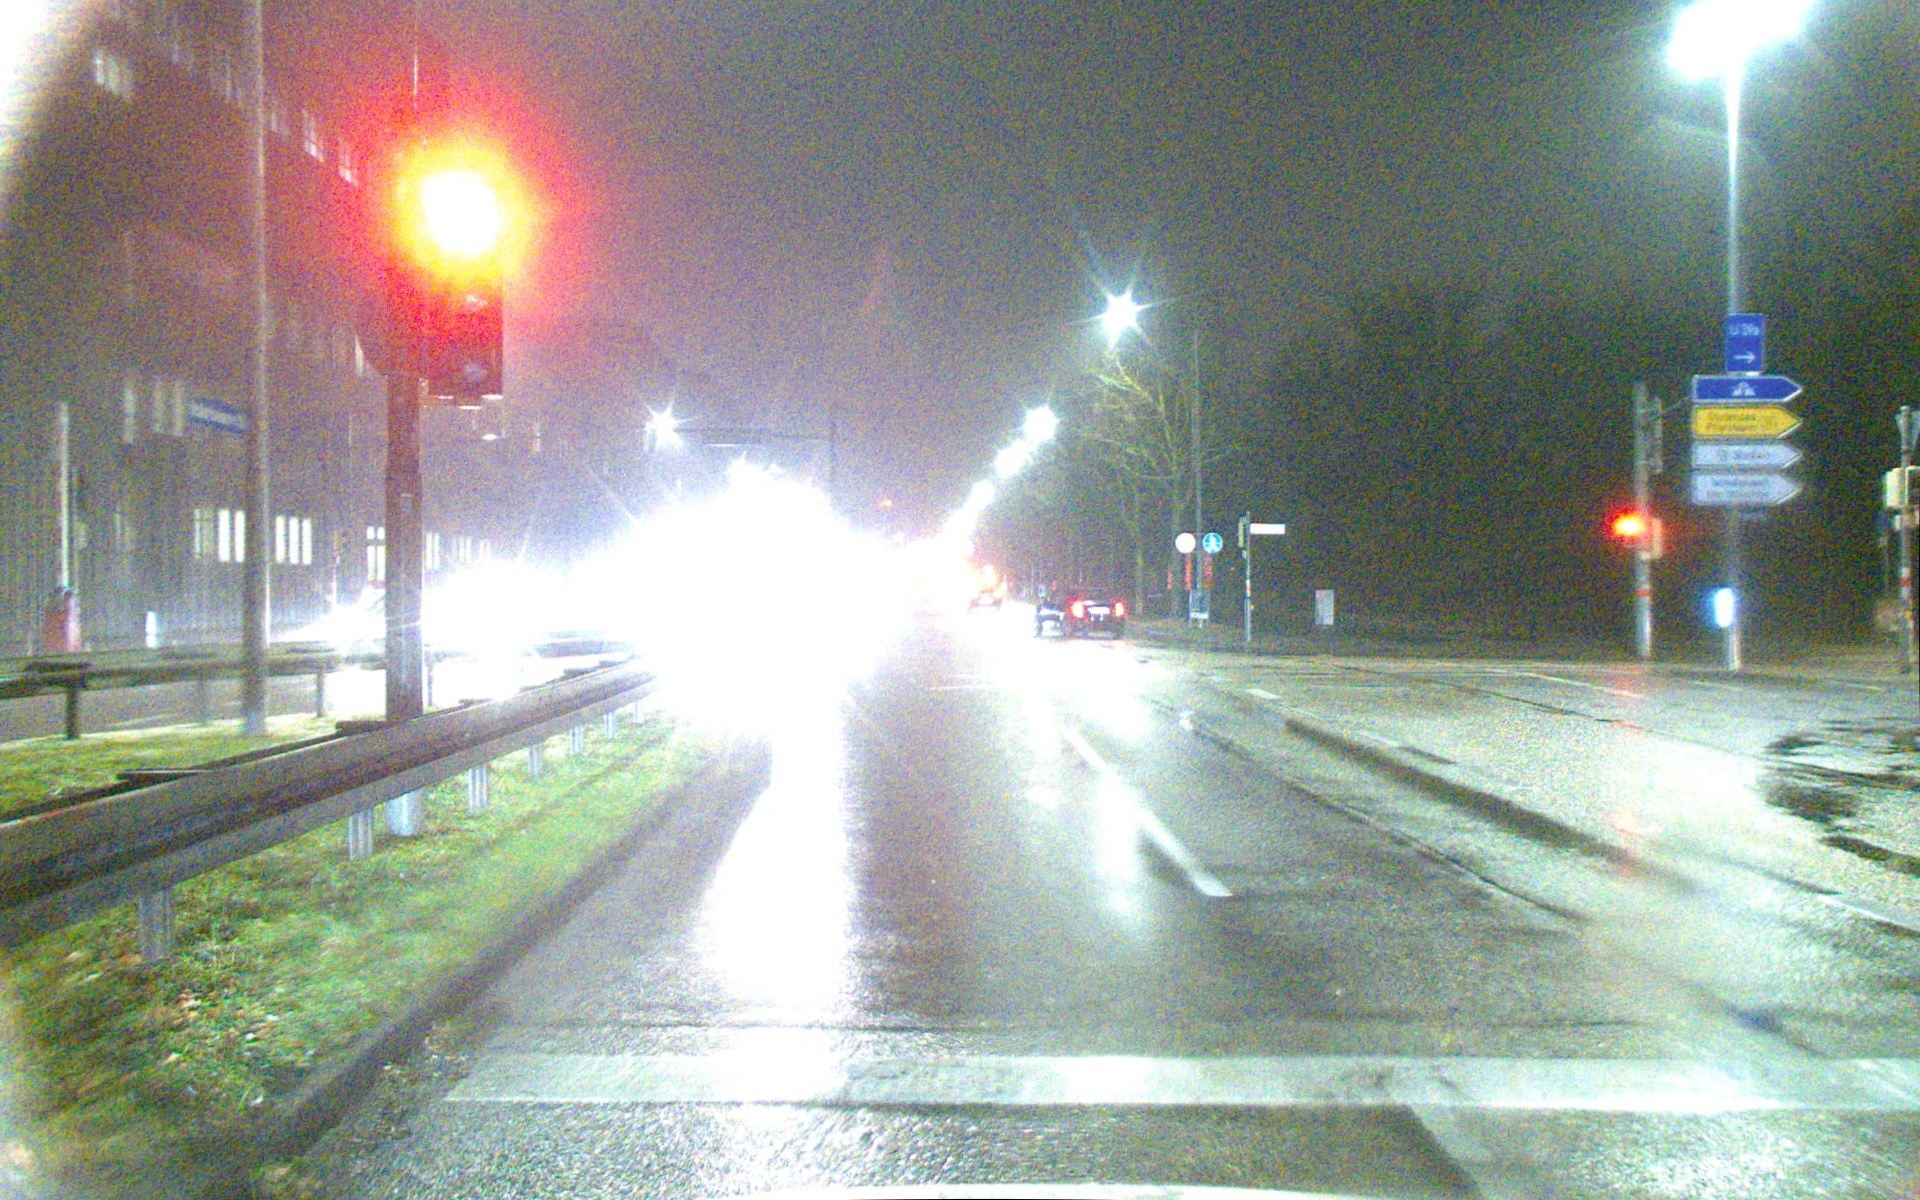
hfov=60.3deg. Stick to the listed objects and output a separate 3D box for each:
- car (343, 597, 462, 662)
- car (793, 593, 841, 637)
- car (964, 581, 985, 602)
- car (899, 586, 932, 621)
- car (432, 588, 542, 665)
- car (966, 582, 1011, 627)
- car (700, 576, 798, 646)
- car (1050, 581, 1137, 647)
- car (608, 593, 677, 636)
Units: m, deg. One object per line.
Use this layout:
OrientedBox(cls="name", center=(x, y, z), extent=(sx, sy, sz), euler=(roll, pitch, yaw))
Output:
OrientedBox(cls="car", center=(-14.364, 0.749, 42.864), extent=(1.764, 1.591, 3.999), euler=(0, 0, -1))
OrientedBox(cls="car", center=(-6.798, 0.704, 78.970), extent=(1.953, 2.049, 3.999), euler=(-1, 0, -1))
OrientedBox(cls="car", center=(1.399, -0.817, 160.624), extent=(1.996, 2.049, 4.307), euler=(0, 0, 1))
OrientedBox(cls="car", center=(-2.675, 0.235, 100.897), extent=(1.953, 2.049, 3.999), euler=(0, 0, -1))
OrientedBox(cls="car", center=(-11.566, 0.620, 40.705), extent=(1.715, 1.738, 4.494), euler=(-1, 0, -5))
OrientedBox(cls="car", center=(1.439, 0.227, 84.823), extent=(2.163, 2.253, 3.642), euler=(0, -1, -1))
OrientedBox(cls="car", center=(-5.196, 0.279, 41.369), extent=(1.953, 1.638, 4.968), euler=(0, 0, -2))
OrientedBox(cls="car", center=(3.804, 0.403, 47.860), extent=(1.865, 1.811, 3.995), euler=(0, 0, -5))
OrientedBox(cls="car", center=(-12.161, 0.559, 63.602), extent=(1.847, 1.579, 4.432), euler=(0, 0, -1))
